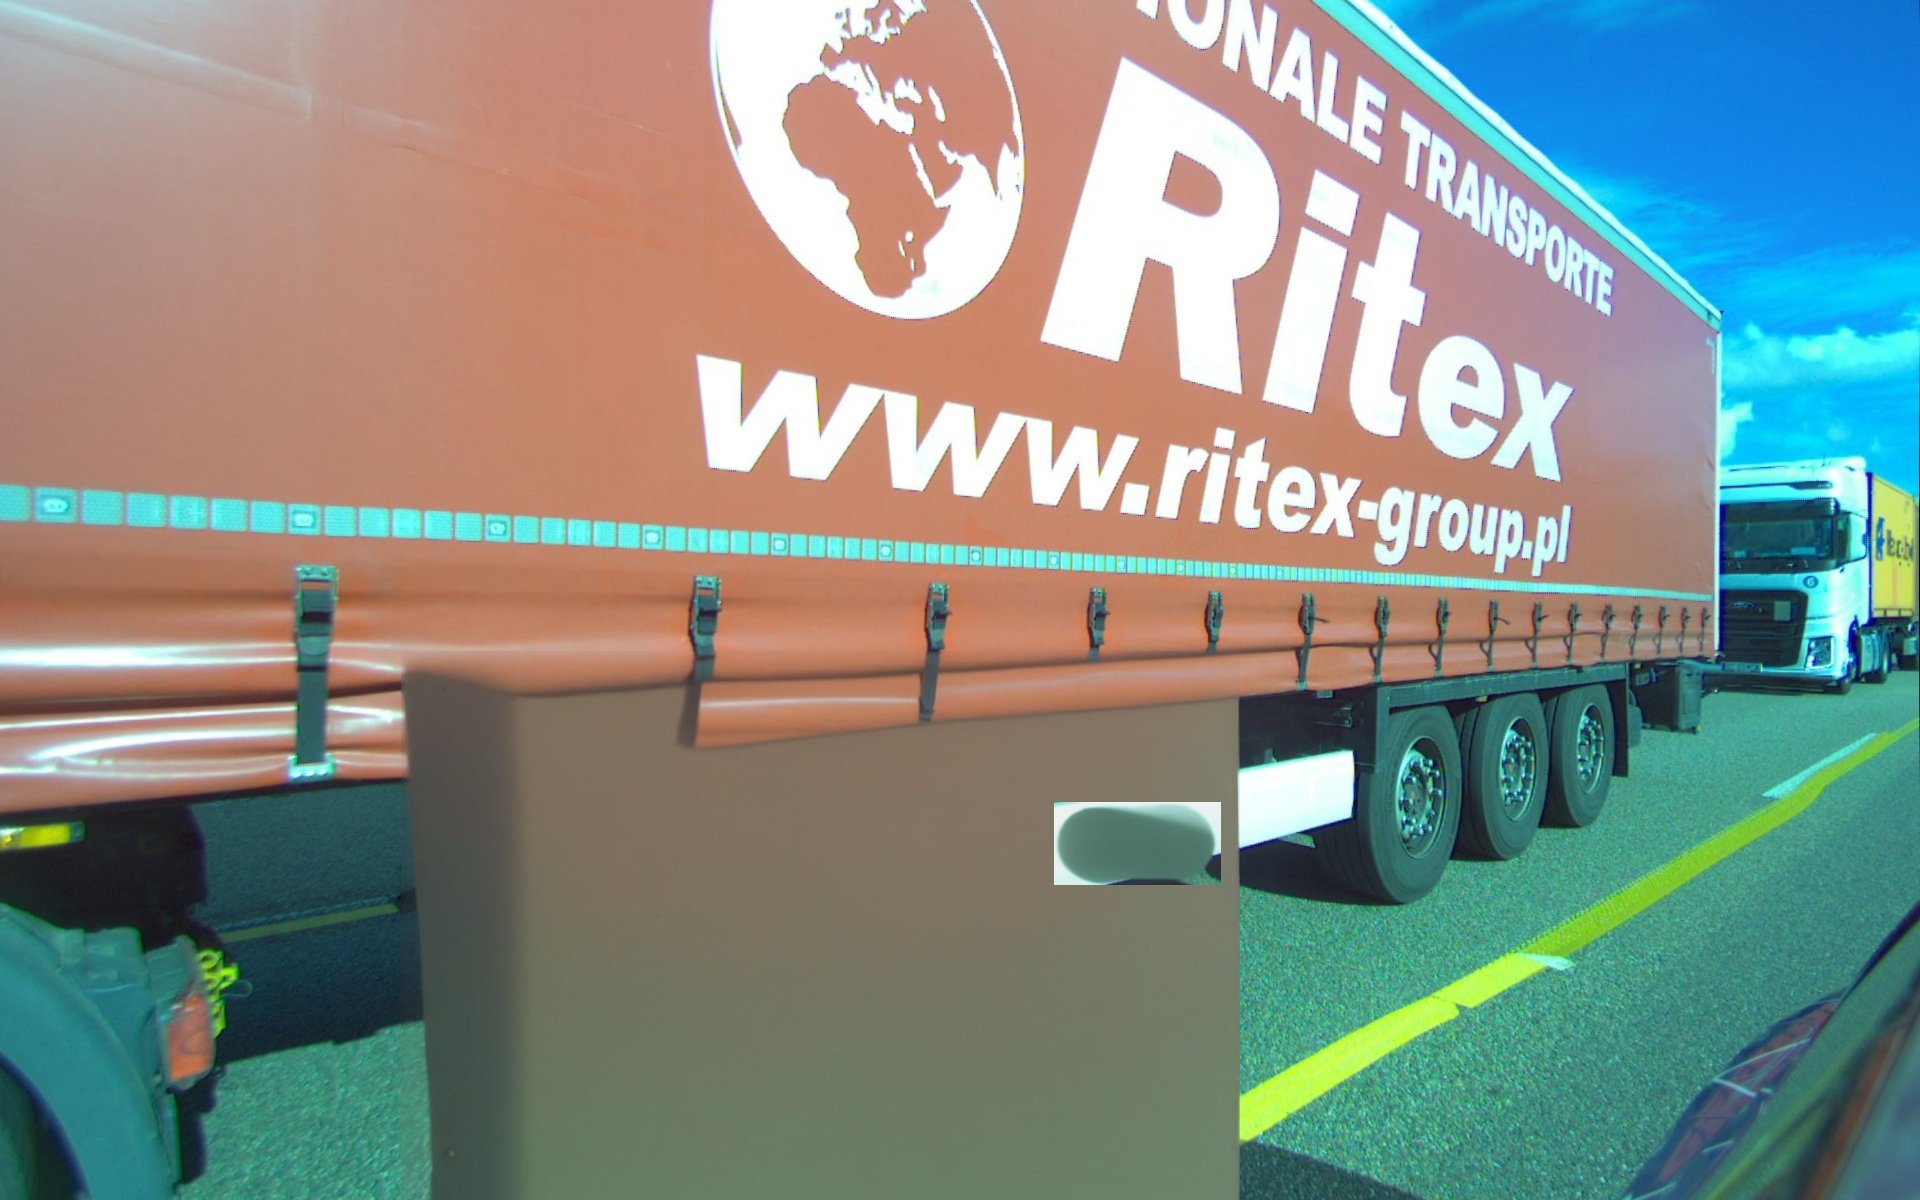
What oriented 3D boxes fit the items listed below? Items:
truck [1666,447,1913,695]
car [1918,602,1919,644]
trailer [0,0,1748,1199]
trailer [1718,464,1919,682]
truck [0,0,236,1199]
[{"bbox_3d":[15.218,-0.467,18.441,5.687,3.828,2.499,0,0,-40],"label":"truck"},{"bbox_3d":[33.448,0.751,33.617,4.399,1.367,1.932,0,0,-41],"label":"car"},{"bbox_3d":[0.943,-0.553,5.301,13.185,4.019,2.704,0,0,-42],"label":"trailer"},{"bbox_3d":[20.034,-0.488,22.548,11.922,3.823,2.476,0,0,-41],"label":"trailer"},{"bbox_3d":[-4.141,-0.545,0.774,5.612,4.010,2.672,0,0,-42],"label":"truck"}]
